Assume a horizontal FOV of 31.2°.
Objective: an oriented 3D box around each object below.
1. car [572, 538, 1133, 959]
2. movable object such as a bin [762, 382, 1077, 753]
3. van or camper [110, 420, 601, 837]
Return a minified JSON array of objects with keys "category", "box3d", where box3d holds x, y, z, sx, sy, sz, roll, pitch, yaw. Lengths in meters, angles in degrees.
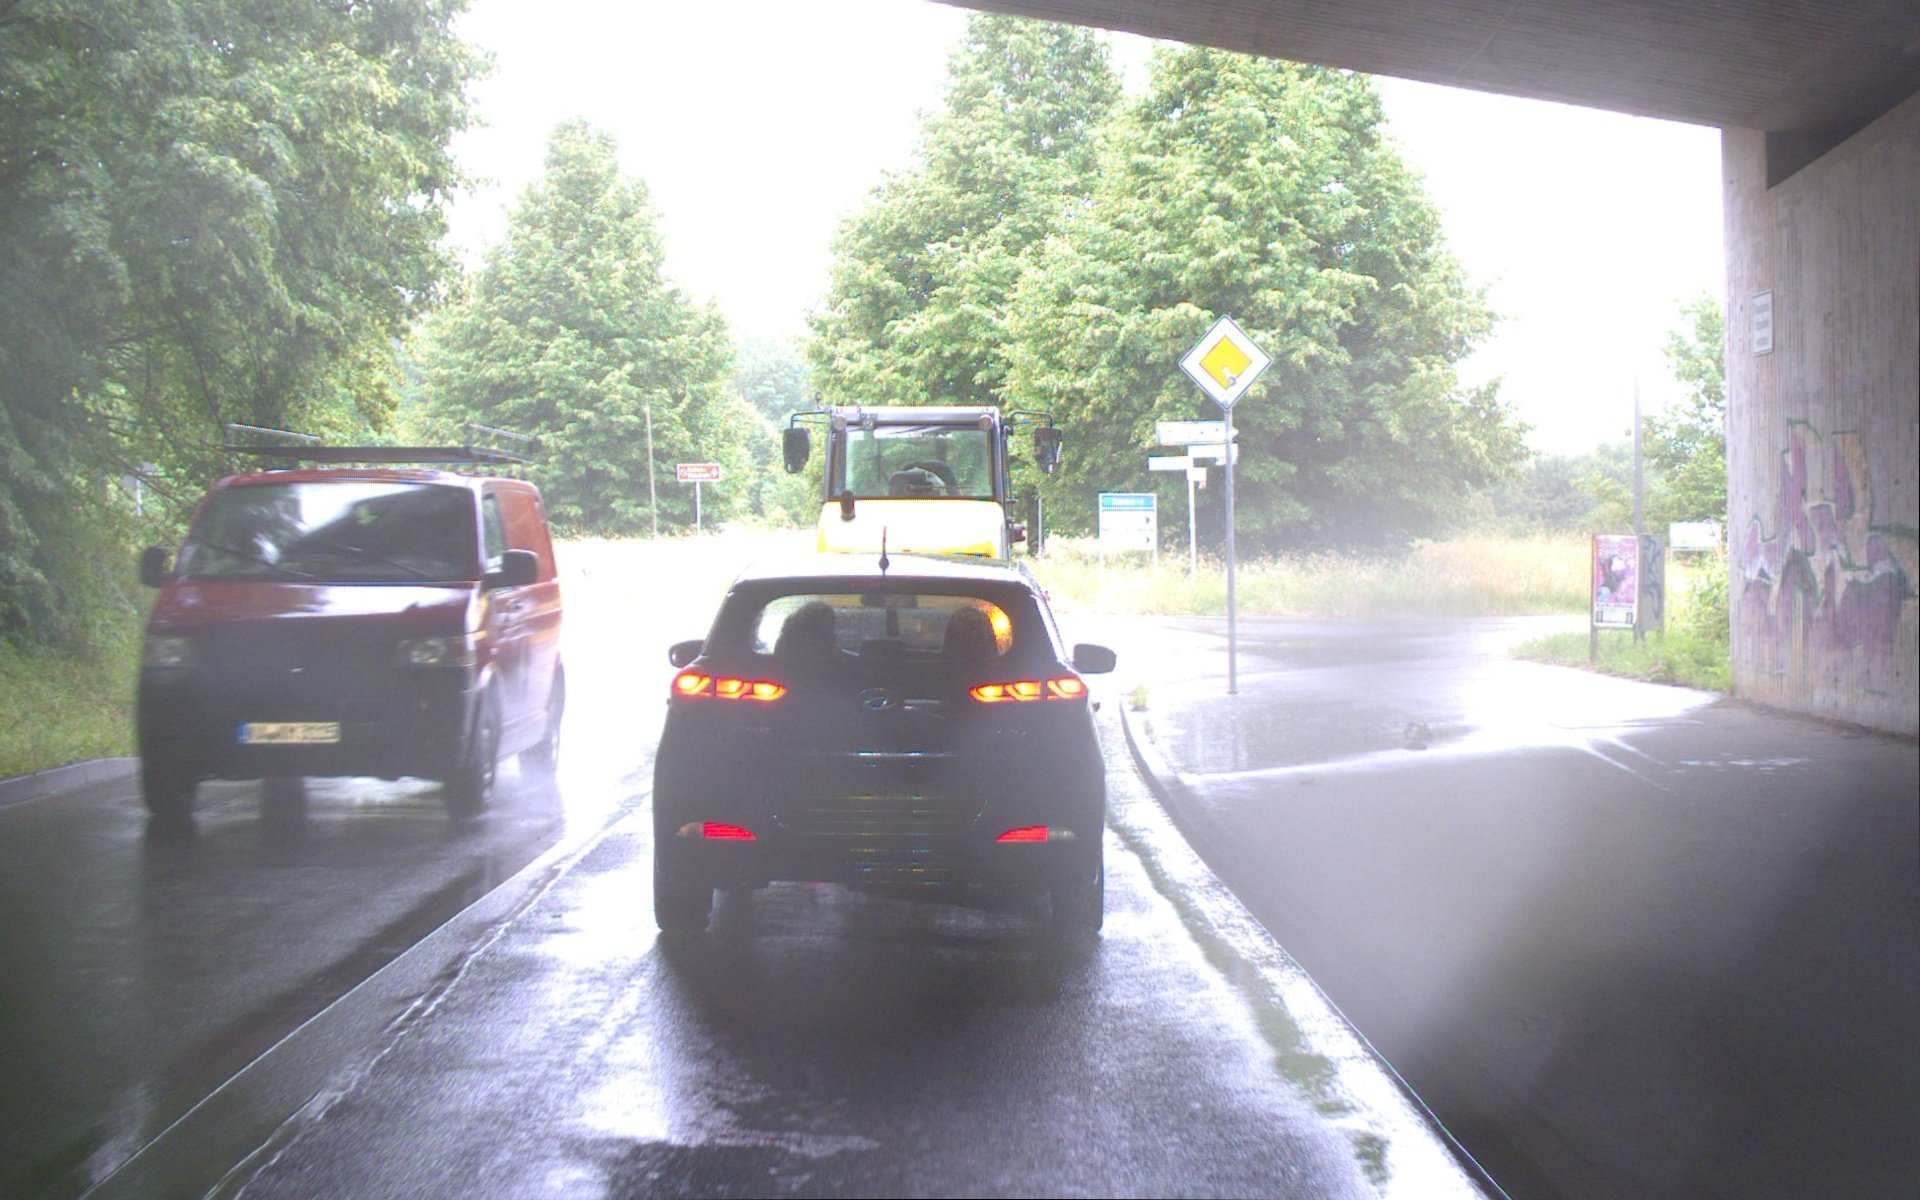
[{"category":"car","box3d":[-0.527,0.503,14.346,1.993,1.482,4.001,1,1,-4]},{"category":"movable object such as a bin","box3d":[-0.405,-0.294,28.258,2.245,2.660,6.627,1,1,-2]},{"category":"van or camper","box3d":[-3.328,0.105,19.885,1.993,2.091,4.692,1,1,0]}]
